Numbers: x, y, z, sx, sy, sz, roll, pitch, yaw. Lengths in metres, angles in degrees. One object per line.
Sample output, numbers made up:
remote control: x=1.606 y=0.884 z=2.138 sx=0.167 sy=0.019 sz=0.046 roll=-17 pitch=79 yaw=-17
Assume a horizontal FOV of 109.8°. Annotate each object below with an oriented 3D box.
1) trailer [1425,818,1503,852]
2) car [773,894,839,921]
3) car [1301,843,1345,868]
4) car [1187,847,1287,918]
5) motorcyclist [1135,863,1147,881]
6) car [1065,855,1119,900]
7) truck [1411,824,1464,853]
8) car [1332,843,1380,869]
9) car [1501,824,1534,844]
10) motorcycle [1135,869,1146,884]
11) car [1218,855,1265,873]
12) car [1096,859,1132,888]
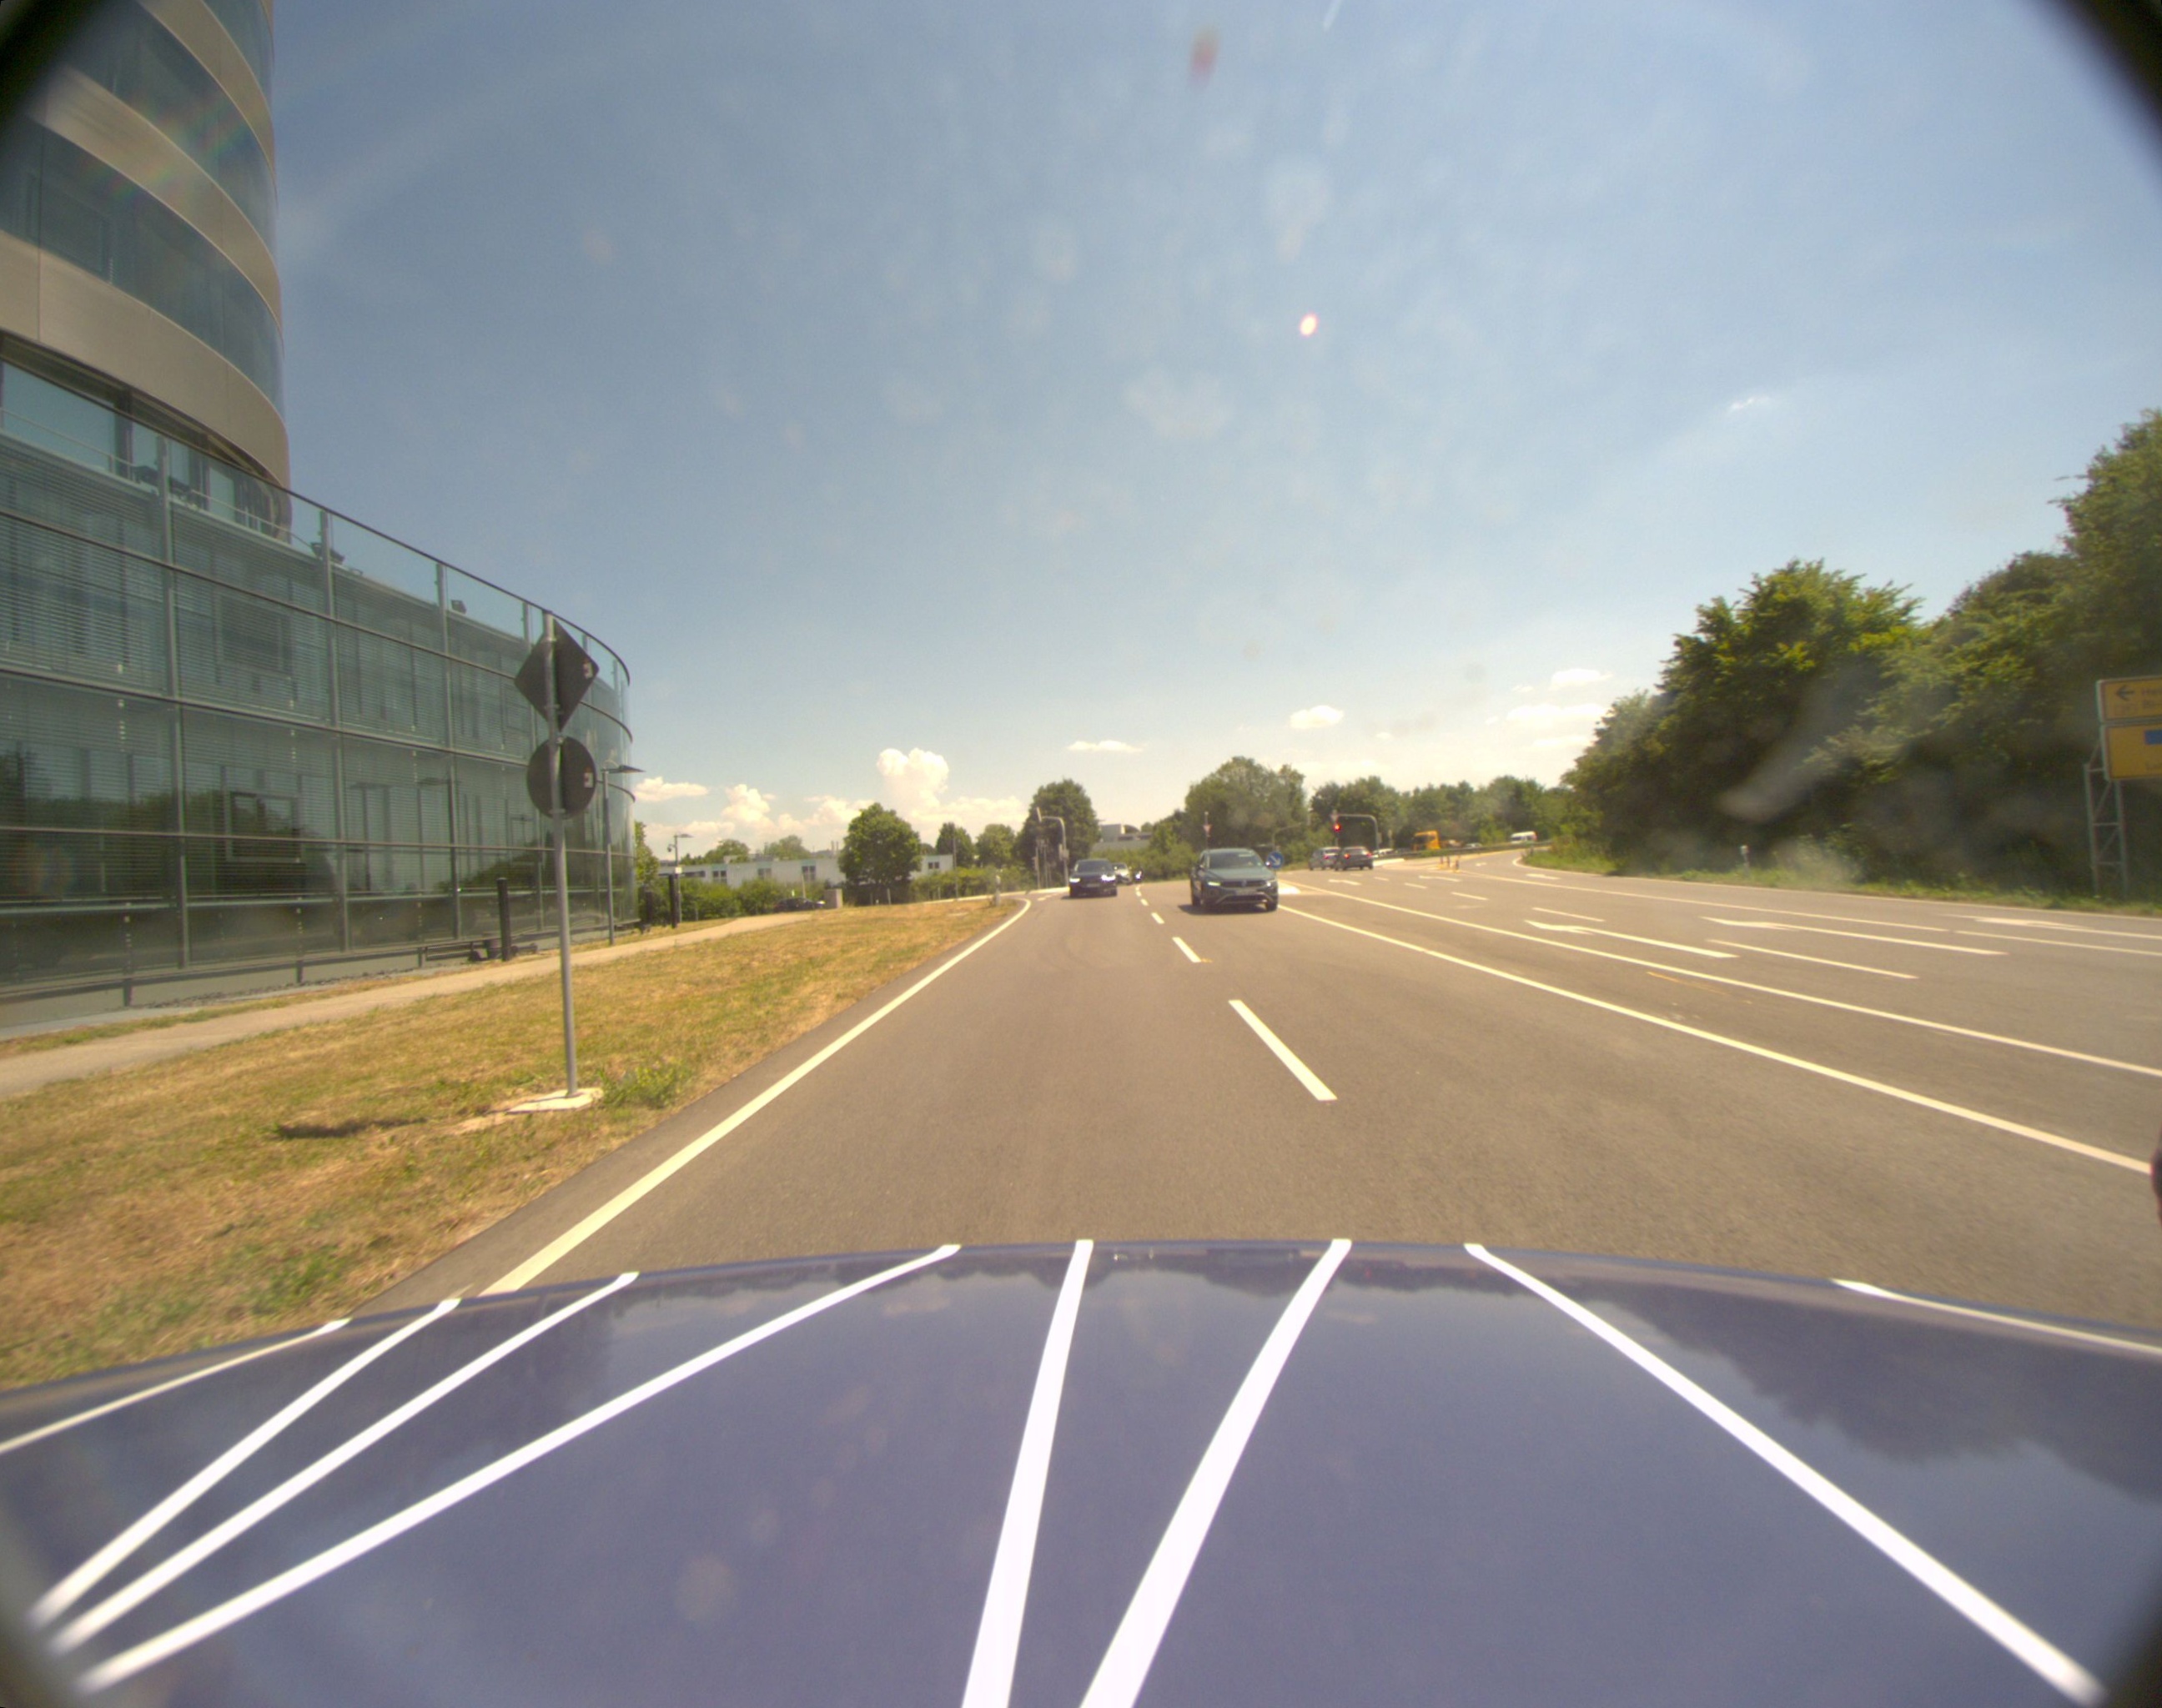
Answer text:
trailer: x=54.364 y=-2.697 z=107.651 sx=13.191 sy=4.038 sz=3.067 roll=-4 pitch=-1 yaw=-32
car: x=-20.545 y=3.985 z=56.897 sx=4.355 sy=1.589 sz=1.936 roll=-5 pitch=-1 yaw=-15
car: x=17.688 y=0.175 z=55.667 sx=1.612 sy=1.589 sz=4.354 roll=-5 pitch=-1 yaw=-2
car: x=3.907 y=0.650 z=19.759 sx=1.839 sy=1.577 sz=4.392 roll=-2 pitch=0 yaw=3
motorcyclist: x=4.913 y=1.495 z=62.482 sx=0.860 sy=1.479 sz=1.162 roll=-1 pitch=0 yaw=0
car: x=0.500 y=0.840 z=28.894 sx=1.779 sy=1.497 sz=4.562 roll=-2 pitch=0 yaw=3
truck: x=48.970 y=-2.109 z=104.323 sx=6.866 sy=3.516 sz=2.980 roll=-4 pitch=-1 yaw=-31
car: x=17.214 y=0.138 z=47.794 sx=1.997 sy=1.430 sz=4.225 roll=-5 pitch=-1 yaw=9
car: x=65.280 y=-3.010 z=113.639 sx=5.489 sy=2.591 sz=2.165 roll=-4 pitch=-1 yaw=-37
motorcycle: x=4.895 y=1.842 z=62.570 sx=0.734 sy=1.131 sz=2.073 roll=-1 pitch=0 yaw=0
car: x=15.758 y=0.954 z=74.414 sx=4.458 sy=1.582 sz=2.113 roll=-3 pitch=1 yaw=-38
car: x=1.990 y=1.186 z=46.939 sx=1.934 sy=1.577 sz=4.180 roll=-5 pitch=-1 yaw=1
